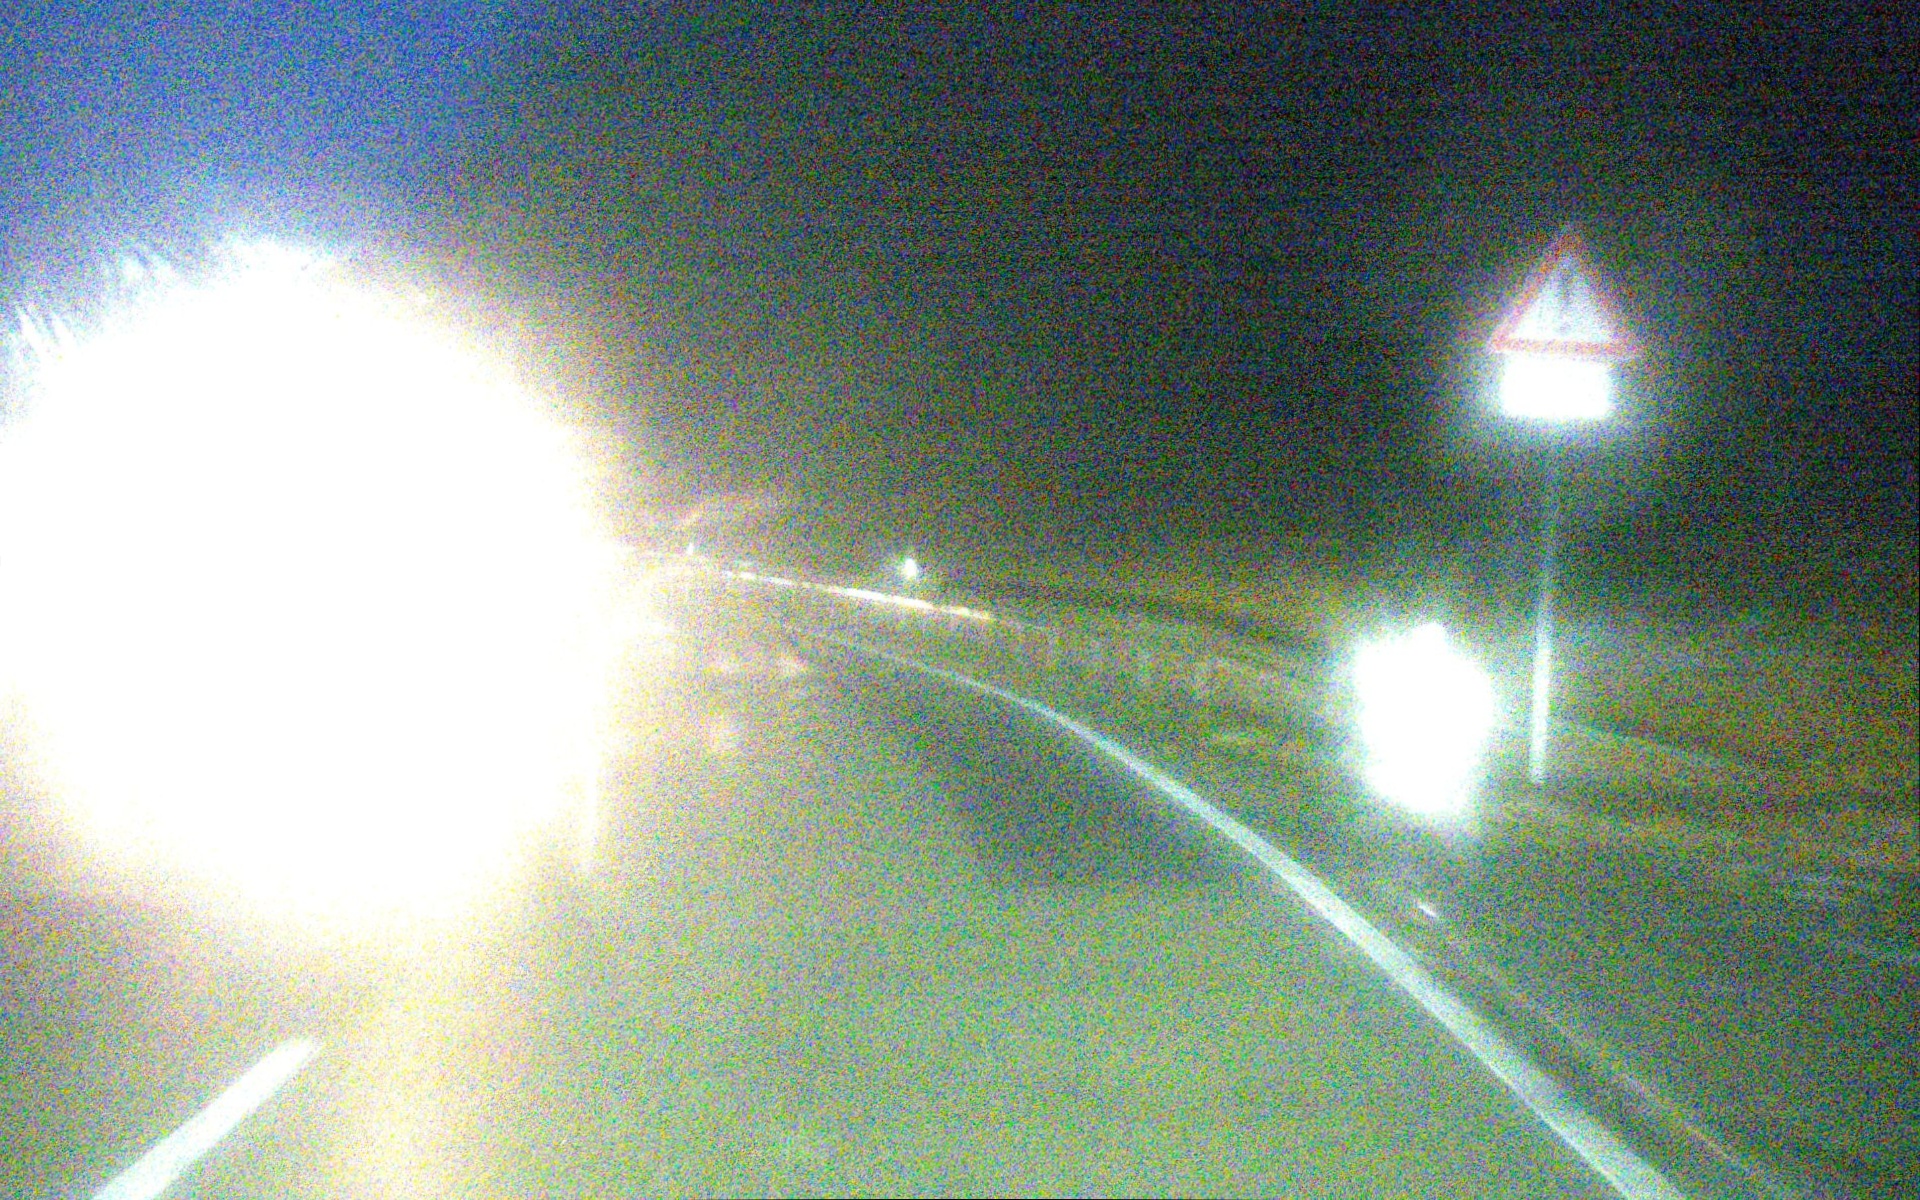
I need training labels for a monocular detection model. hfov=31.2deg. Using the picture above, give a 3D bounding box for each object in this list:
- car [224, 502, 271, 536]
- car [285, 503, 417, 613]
[{"bbox_3d":[-32.803,-3.725,158.233,1.993,1.467,3.838,1,2,-13],"label":"car"},{"bbox_3d":[-11.305,-0.796,63.664,1.993,1.919,4.001,1,1,-16],"label":"car"}]
